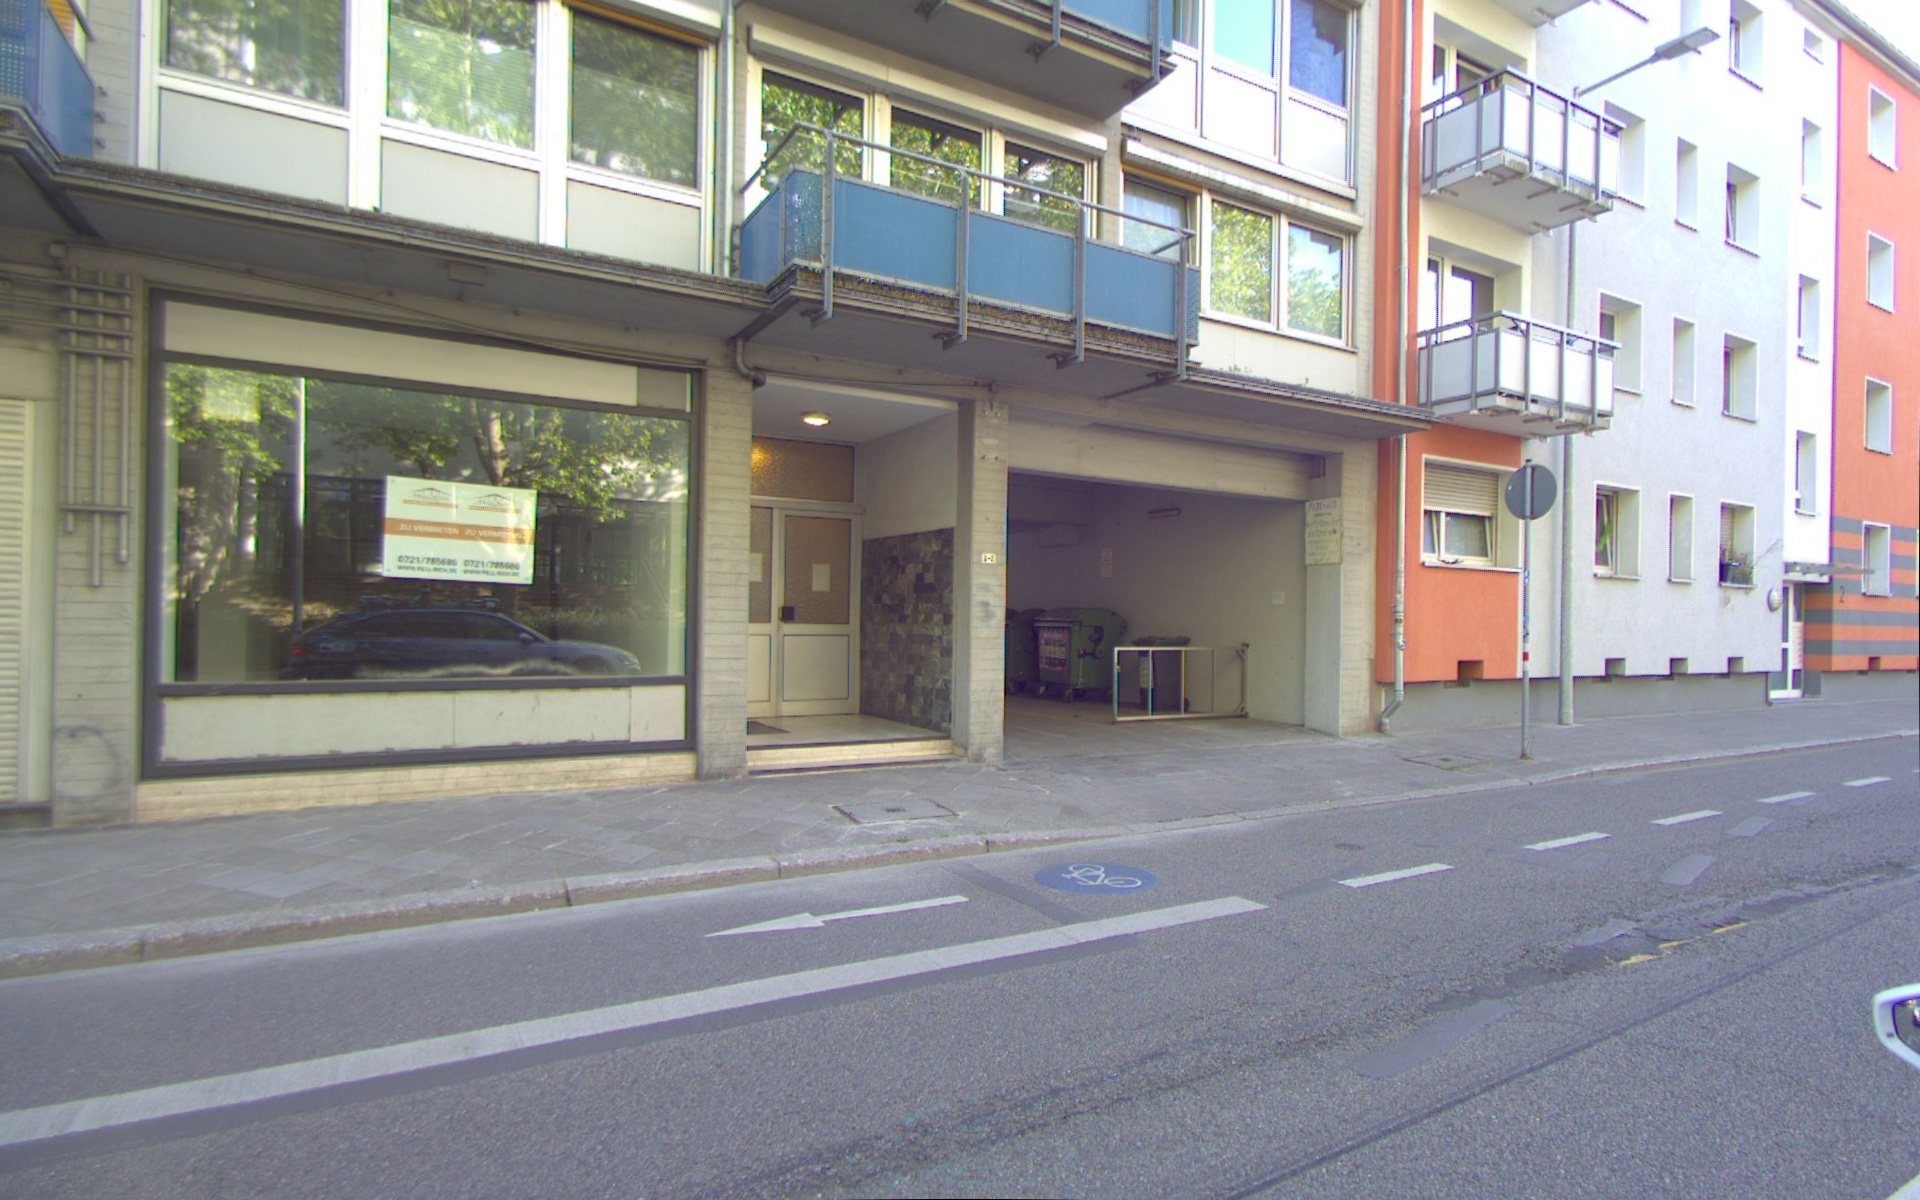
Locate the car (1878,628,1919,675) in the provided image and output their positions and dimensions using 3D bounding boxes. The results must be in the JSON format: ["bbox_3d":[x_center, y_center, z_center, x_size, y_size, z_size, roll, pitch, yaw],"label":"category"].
[{"bbox_3d":[30.749,1.623,30.694,1.424,1.436,3.725,2,-1,-32],"label":"car"}]
